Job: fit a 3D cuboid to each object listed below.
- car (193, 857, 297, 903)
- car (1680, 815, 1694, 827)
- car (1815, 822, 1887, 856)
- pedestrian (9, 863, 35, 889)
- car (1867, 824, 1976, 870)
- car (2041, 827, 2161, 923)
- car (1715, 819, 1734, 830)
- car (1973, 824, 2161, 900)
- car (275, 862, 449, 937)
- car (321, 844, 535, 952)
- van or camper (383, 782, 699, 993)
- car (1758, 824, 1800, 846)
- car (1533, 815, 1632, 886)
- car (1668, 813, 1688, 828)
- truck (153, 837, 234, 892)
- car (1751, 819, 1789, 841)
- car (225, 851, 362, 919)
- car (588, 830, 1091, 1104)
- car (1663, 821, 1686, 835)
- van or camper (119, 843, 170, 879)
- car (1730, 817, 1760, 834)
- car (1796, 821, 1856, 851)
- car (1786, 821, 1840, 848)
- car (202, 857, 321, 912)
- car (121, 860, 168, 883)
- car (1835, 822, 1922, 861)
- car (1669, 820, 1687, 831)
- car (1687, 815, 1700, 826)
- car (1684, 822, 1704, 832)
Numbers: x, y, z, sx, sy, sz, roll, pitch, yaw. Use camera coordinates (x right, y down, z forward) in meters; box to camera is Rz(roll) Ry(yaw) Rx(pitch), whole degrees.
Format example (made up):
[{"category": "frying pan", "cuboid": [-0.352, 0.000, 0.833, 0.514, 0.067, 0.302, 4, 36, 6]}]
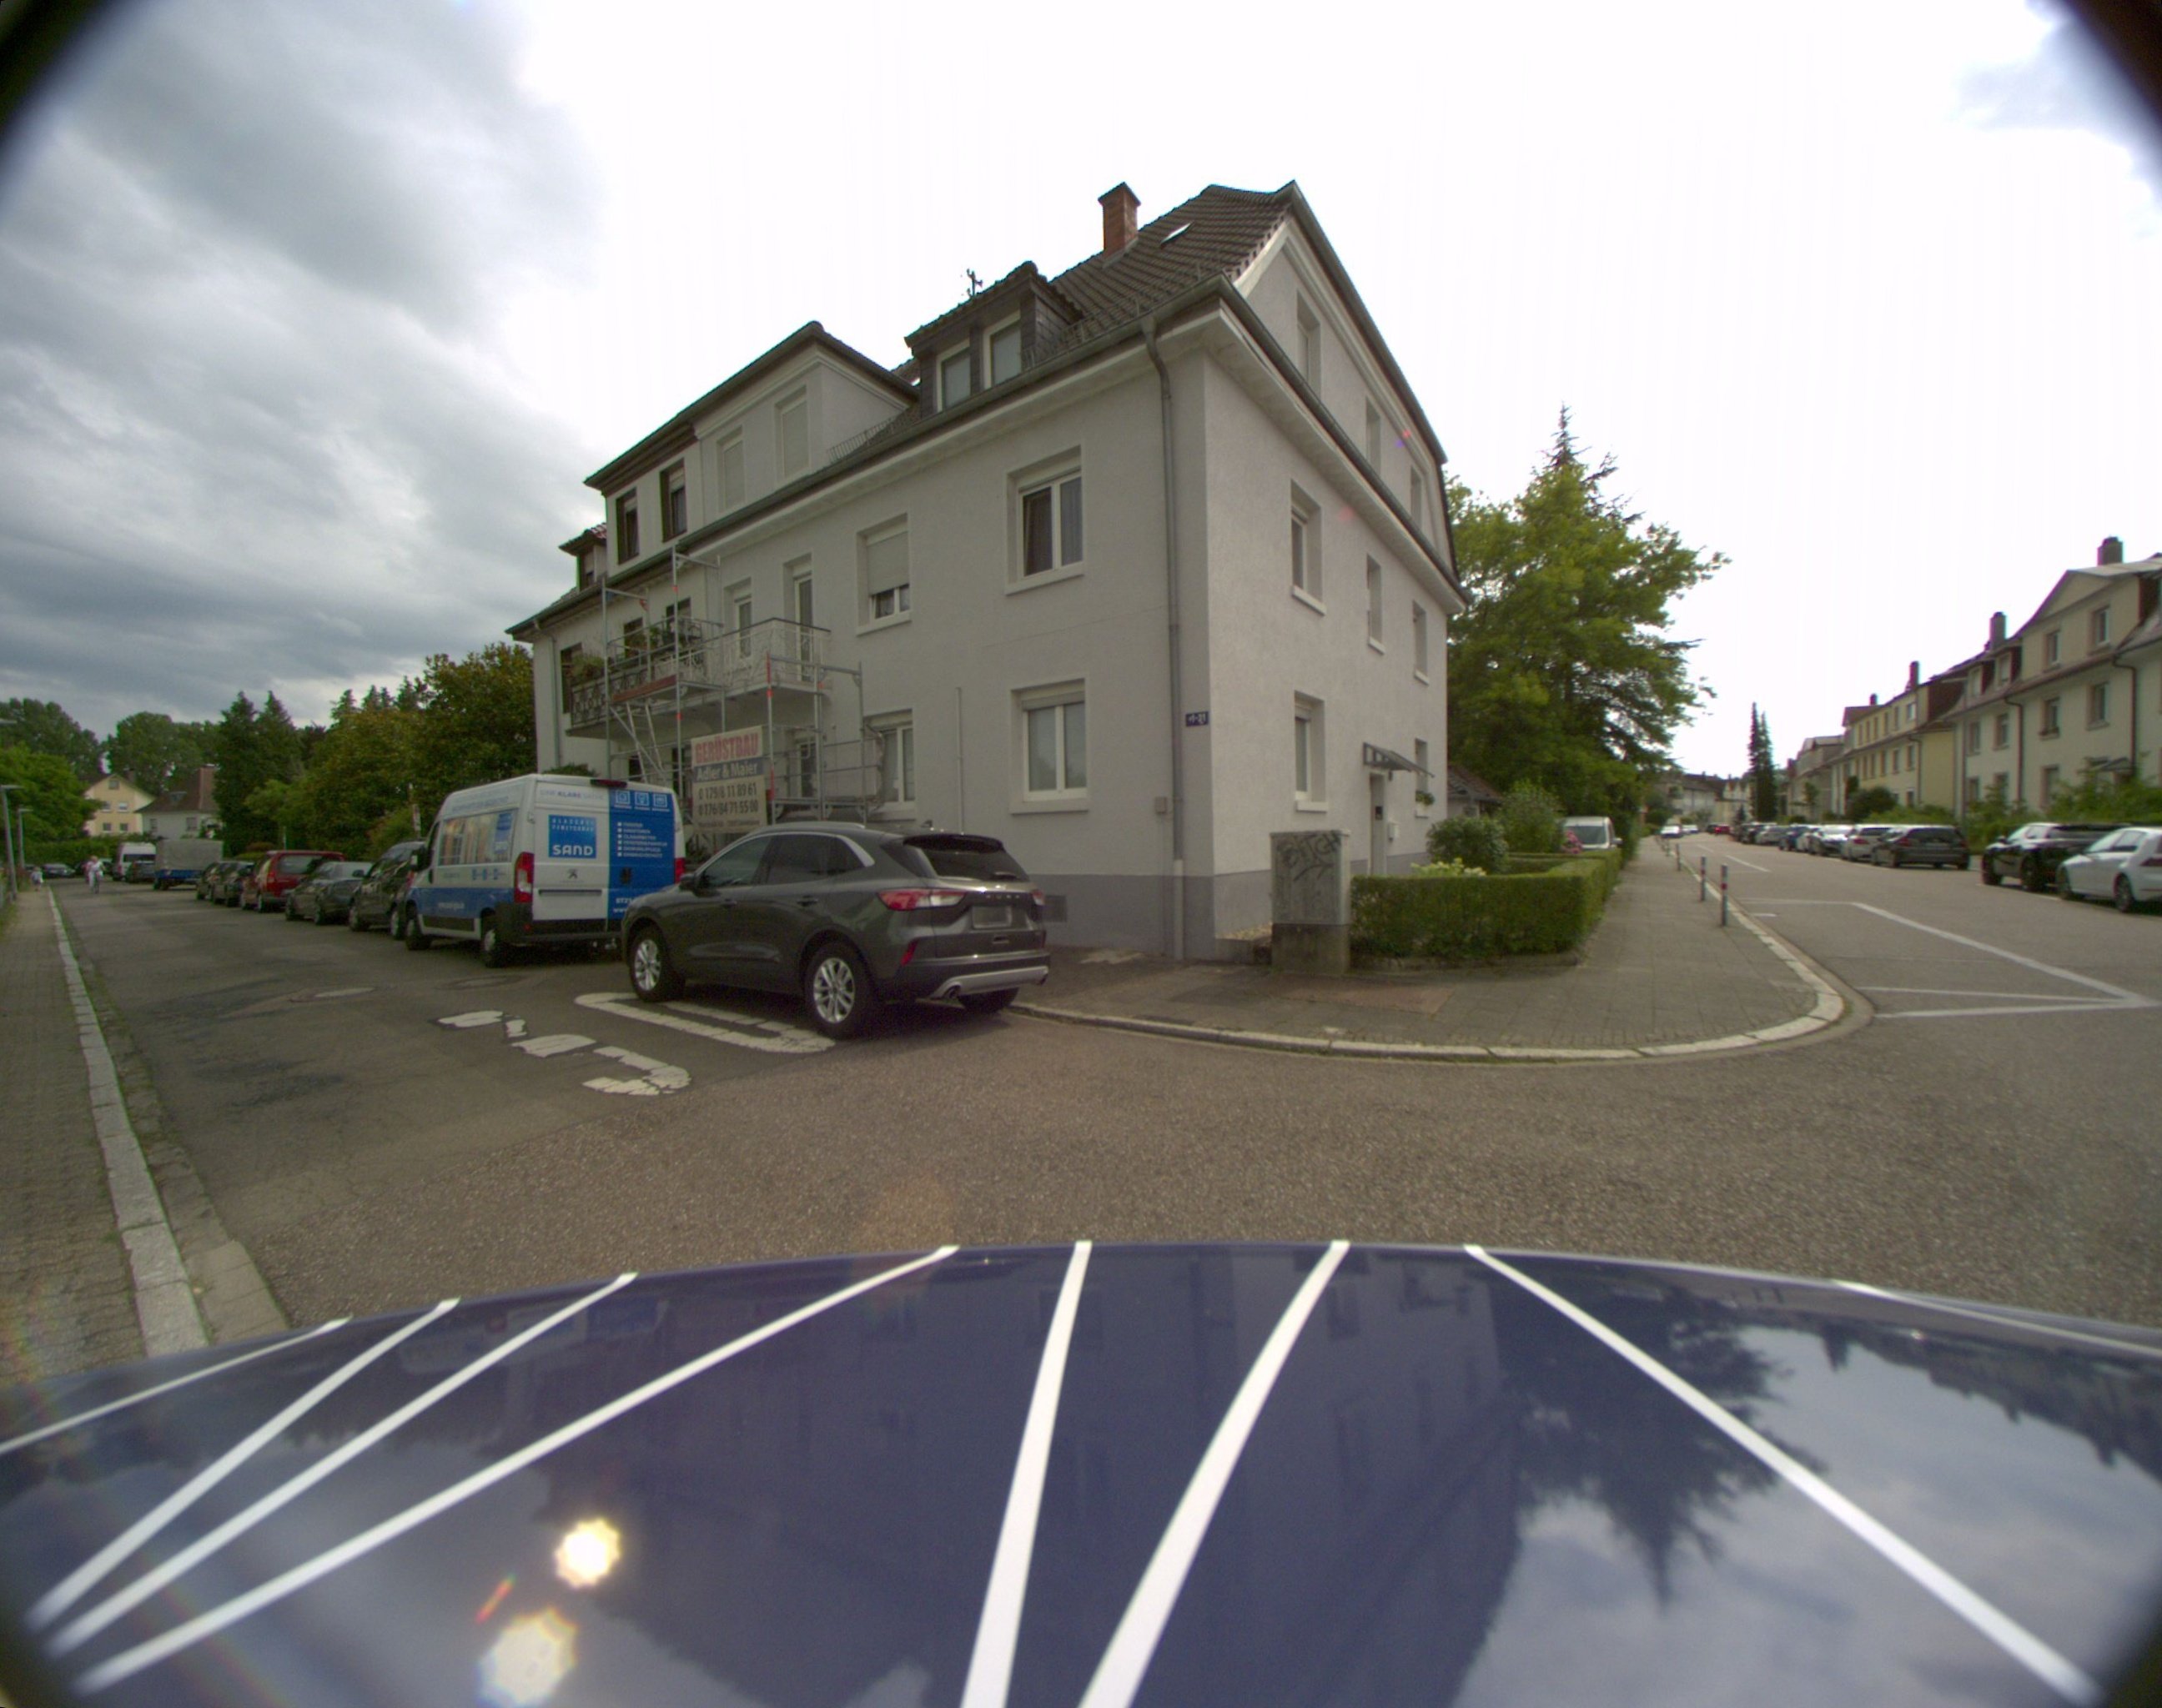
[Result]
[{"category": "car", "cuboid": [-31.857, 0.930, 28.921, 4.329, 1.582, 2.004, 0, 2, 34]}, {"category": "car", "cuboid": [119.036, -6.490, 149.127, 1.994, 2.112, 4.007, 0, 2, 40]}, {"category": "car", "cuboid": [35.658, -0.736, 35.293, 1.854, 1.463, 4.183, 0, 2, 38]}, {"category": "pedestrian", "cuboid": [-54.689, 1.124, 39.241, 0.752, 1.316, 0.664, 0, 2, 30]}, {"category": "car", "cuboid": [29.063, -0.282, 26.417, 1.854, 1.463, 4.183, 0, 2, 38]}, {"category": "car", "cuboid": [18.916, 0.287, 13.194, 1.854, 1.463, 4.183, 0, 2, 38]}, {"category": "car", "cuboid": [89.249, -4.112, 105.451, 1.854, 1.569, 4.183, 0, 2, 38]}, {"category": "car", "cuboid": [21.939, 0.106, 16.936, 1.854, 1.463, 4.183, 0, 2, 38]}, {"category": "car", "cuboid": [-16.807, 0.954, 17.709, 4.329, 1.447, 2.004, 0, 2, 34]}, {"category": "car", "cuboid": [-12.721, 0.732, 14.747, 4.329, 1.762, 2.004, 0, 2, 34]}, {"category": "van or camper", "cuboid": [-8.047, 0.351, 11.162, 5.039, 2.445, 2.203, 0, 2, 36]}, {"category": "car", "cuboid": [49.727, -1.389, 54.183, 1.854, 1.463, 4.183, 0, 2, 38]}, {"category": "car", "cuboid": [14.360, -0.162, 21.655, 1.994, 1.827, 4.007, 0, 2, 39]}, {"category": "car", "cuboid": [80.655, -4.496, 102.608, 1.994, 2.002, 4.007, 0, 2, 39]}, {"category": "truck", "cuboid": [-45.384, 0.479, 38.832, 4.571, 2.642, 2.141, 0, 2, 35]}, {"category": "car", "cuboid": [52.875, -1.846, 58.341, 1.854, 1.569, 4.183, 0, 2, 38]}, {"category": "car", "cuboid": [-23.188, 0.826, 22.344, 4.329, 1.740, 2.004, 0, 2, 34]}, {"category": "car", "cuboid": [-2.289, 0.696, 6.835, 4.329, 1.717, 2.004, 0, 2, 34]}, {"category": "car", "cuboid": [72.723, -3.213, 93.063, 1.994, 1.631, 4.007, 0, 2, 40]}, {"category": "van or camper", "cuboid": [-71.617, 0.503, 58.108, 5.000, 2.527, 2.152, 0, 2, 37]}, {"category": "car", "cuboid": [64.427, -2.763, 73.756, 1.854, 1.569, 4.183, 0, 2, 37]}, {"category": "car", "cuboid": [39.666, -0.980, 40.537, 1.854, 1.463, 4.183, 0, 2, 38]}, {"category": "car", "cuboid": [42.312, -1.142, 44.014, 1.854, 1.463, 4.183, 0, 2, 38]}, {"category": "car", "cuboid": [-27.296, 0.946, 25.282, 4.329, 1.582, 2.004, 0, 2, 34]}, {"category": "car", "cuboid": [-61.887, 1.096, 50.186, 3.988, 1.368, 1.830, 0, 2, 38]}, {"category": "car", "cuboid": [32.181, -0.525, 30.778, 1.854, 1.463, 4.183, 0, 2, 38]}, {"category": "car", "cuboid": [90.939, -4.349, 115.650, 1.994, 1.631, 4.007, 0, 2, 40]}, {"category": "car", "cuboid": [127.758, -6.976, 158.359, 1.994, 2.112, 4.007, 0, 2, 40]}, {"category": "car", "cuboid": [101.196, -4.438, 125.421, 4.007, 1.527, 1.994, -3, 1, -44]}]
